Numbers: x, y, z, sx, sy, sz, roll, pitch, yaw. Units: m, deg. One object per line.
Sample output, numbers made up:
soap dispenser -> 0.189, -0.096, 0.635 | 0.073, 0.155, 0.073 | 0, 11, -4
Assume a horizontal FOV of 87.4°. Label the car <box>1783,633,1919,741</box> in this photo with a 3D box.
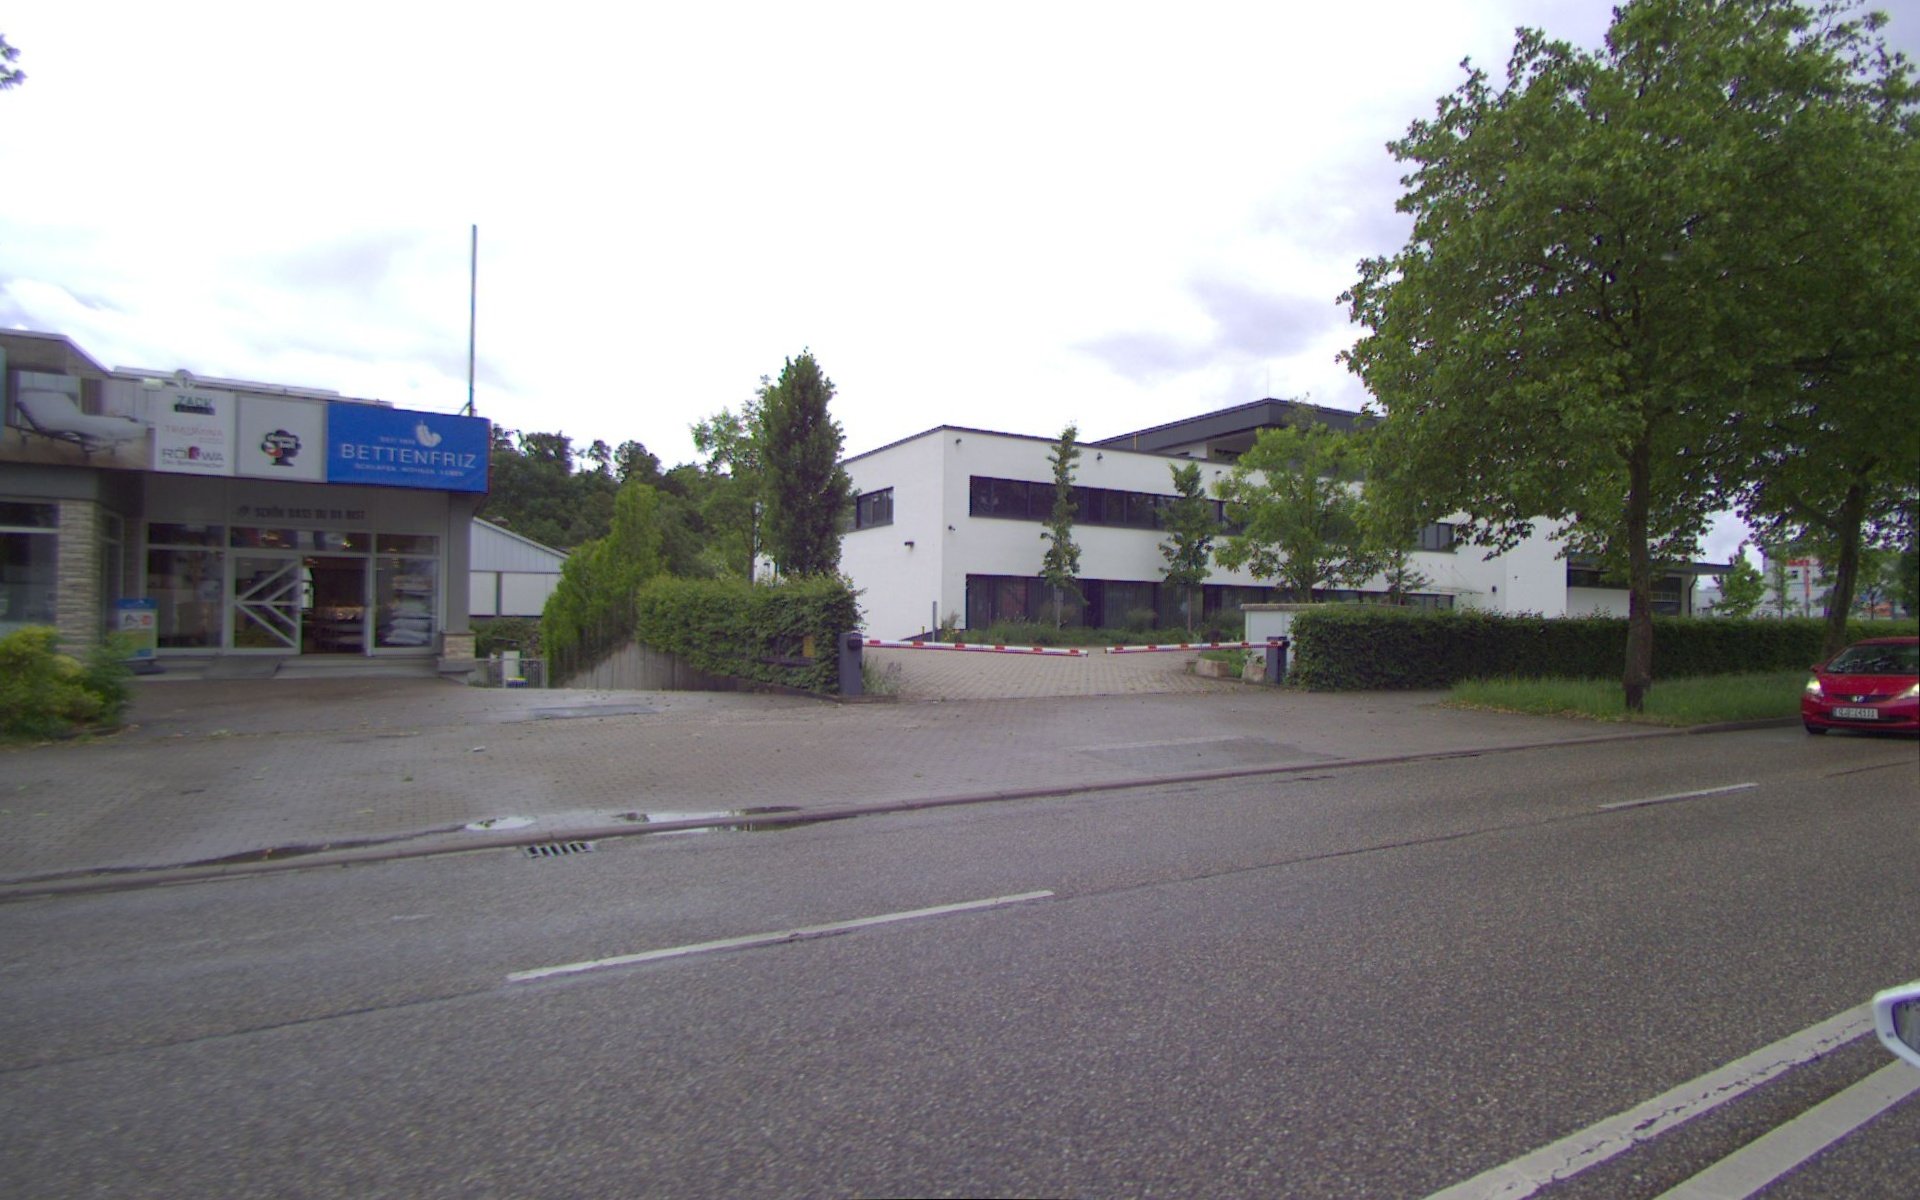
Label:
car -> 14.916, 1.296, 15.890 | 3.776, 1.537, 1.718 | 1, -2, -30
